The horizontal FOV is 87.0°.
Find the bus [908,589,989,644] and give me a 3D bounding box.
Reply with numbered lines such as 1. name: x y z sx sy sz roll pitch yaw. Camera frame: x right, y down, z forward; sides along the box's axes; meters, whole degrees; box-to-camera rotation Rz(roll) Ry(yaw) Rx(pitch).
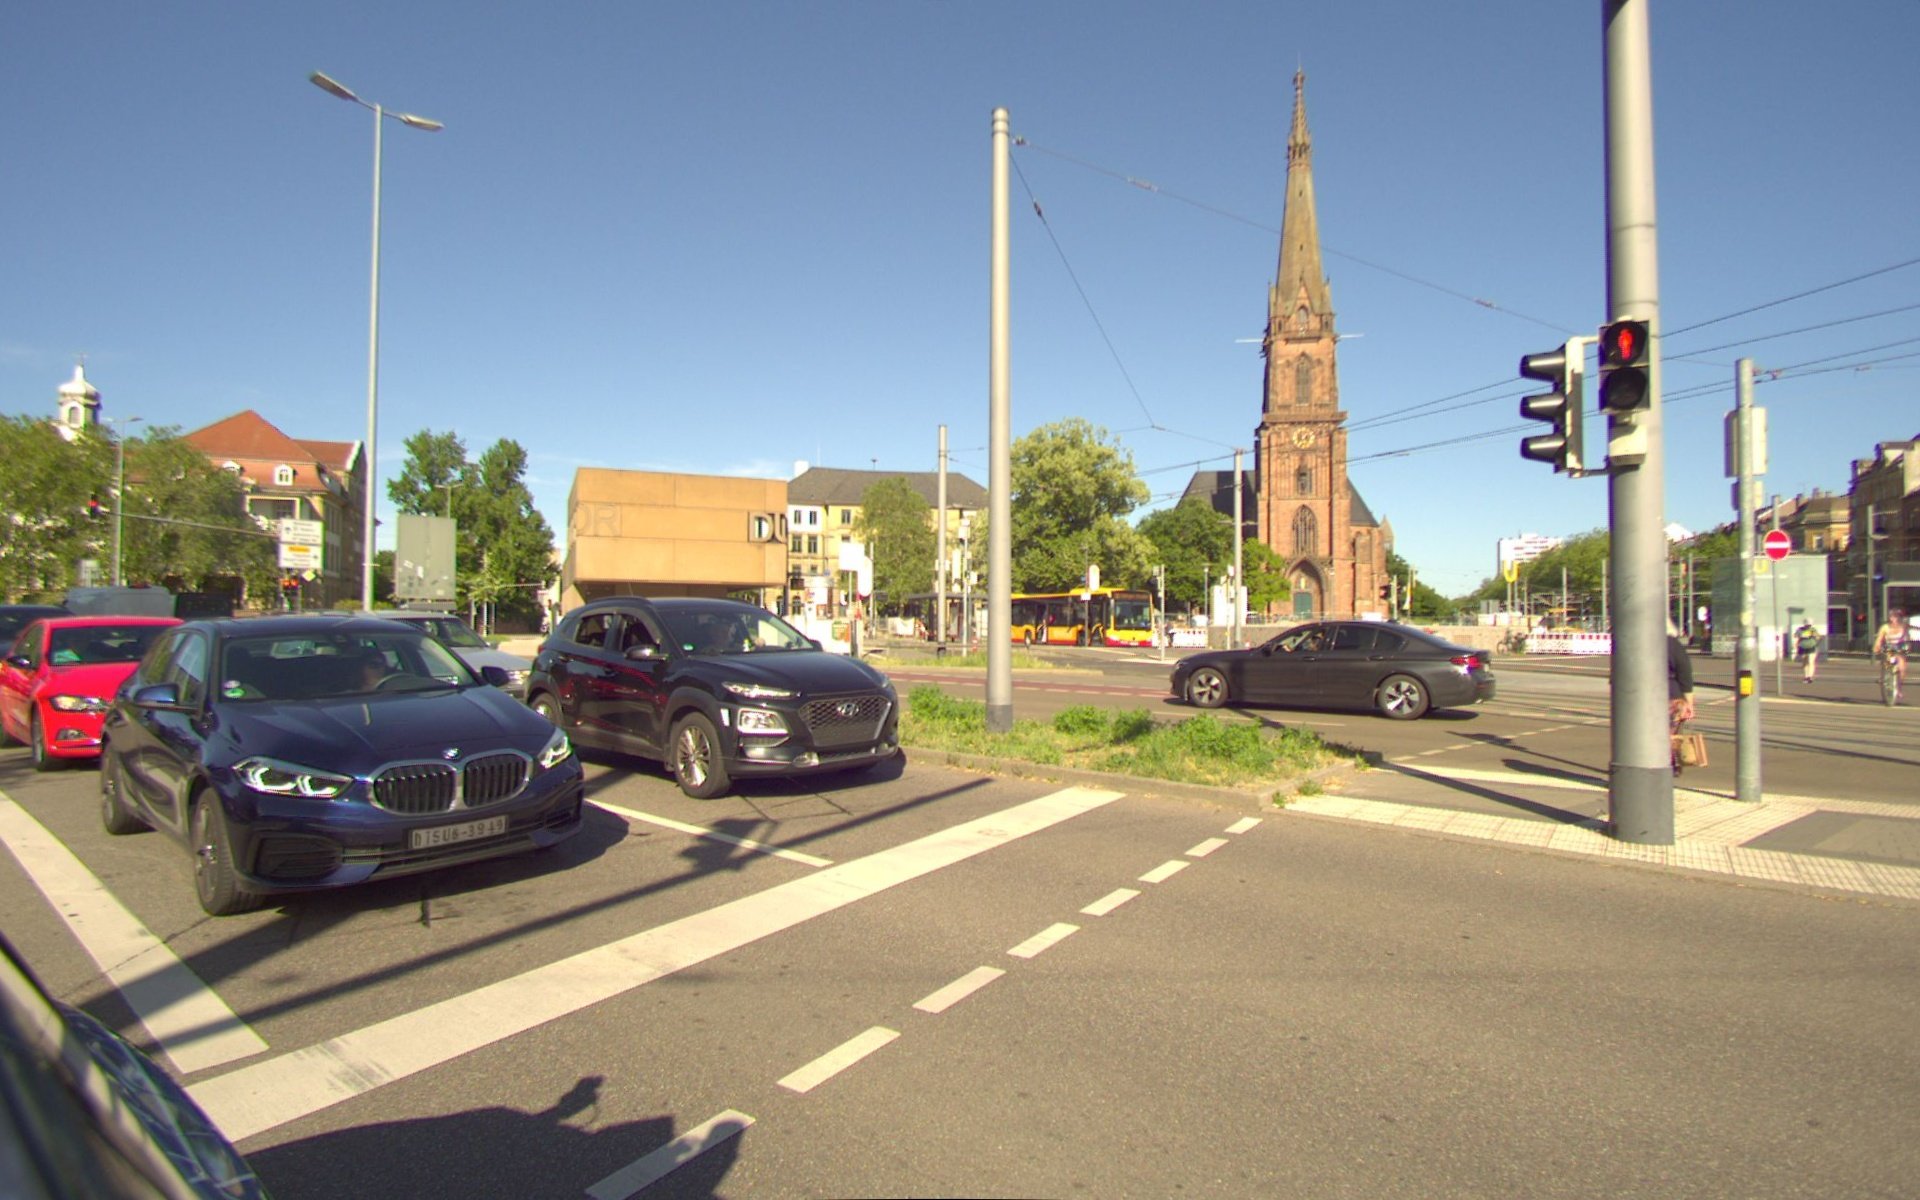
1. bus: -0.840 1.043 61.804 2.104 3.069 8.585 -1 -1 -20

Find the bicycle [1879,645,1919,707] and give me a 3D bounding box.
1. bicycle: 16.664 1.299 17.769 0.615 0.997 2.444 -1 -2 39

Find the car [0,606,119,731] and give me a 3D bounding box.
1. car: -13.487 0.887 14.138 4.114 1.546 1.739 -1 0 36

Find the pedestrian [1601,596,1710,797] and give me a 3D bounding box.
1. pedestrian: 5.687 0.756 8.283 0.367 1.567 0.645 -1 0 -41

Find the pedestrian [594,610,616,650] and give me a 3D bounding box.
1. pedestrian: -15.273 1.281 43.526 0.738 1.725 0.703 -1 0 -8

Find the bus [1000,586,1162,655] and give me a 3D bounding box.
1. bus: 5.927 0.876 52.943 2.801 3.144 11.860 -1 1 -24

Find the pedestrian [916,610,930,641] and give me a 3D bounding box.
1. pedestrian: -2.238 1.542 61.509 0.679 1.875 0.731 -1 0 -19

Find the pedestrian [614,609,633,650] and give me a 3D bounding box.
1. pedestrian: -14.309 1.237 43.094 0.634 1.725 0.703 -1 0 -9

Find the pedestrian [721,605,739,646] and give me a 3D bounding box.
1. pedestrian: -11.854 1.312 52.111 0.844 2.091 0.612 -1 0 -14

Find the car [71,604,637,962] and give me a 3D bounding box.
1. car: -3.912 0.783 6.246 4.011 1.469 1.862 -1 0 41

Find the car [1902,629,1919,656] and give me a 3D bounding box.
1. car: 49.856 2.130 50.992 1.897 1.371 3.978 -1 -2 16

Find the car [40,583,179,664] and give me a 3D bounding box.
1. car: -30.167 0.797 35.863 5.288 2.701 2.220 -1 0 32

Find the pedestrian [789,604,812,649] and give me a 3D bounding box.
1. pedestrian: -6.760 1.104 42.828 0.822 1.843 0.862 -1 0 -19

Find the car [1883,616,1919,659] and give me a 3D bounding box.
1. car: 73.043 2.807 77.273 1.985 3.131 4.889 -1 0 20

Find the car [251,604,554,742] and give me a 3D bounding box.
1. car: -7.325 0.816 13.087 4.655 1.469 1.802 -1 0 39

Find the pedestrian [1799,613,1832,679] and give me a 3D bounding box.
1. pedestrian: 21.425 1.141 25.335 0.608 1.620 0.705 -1 0 41

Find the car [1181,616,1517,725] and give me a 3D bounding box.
1. car: 6.022 0.993 15.922 4.635 1.469 1.865 -1 -1 36

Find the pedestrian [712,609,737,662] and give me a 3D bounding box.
1. pedestrian: -8.463 1.259 36.312 0.844 1.843 0.704 -1 0 -14

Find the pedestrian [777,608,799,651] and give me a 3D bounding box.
1. pedestrian: -7.536 1.276 44.333 0.822 1.843 0.862 -1 0 -19

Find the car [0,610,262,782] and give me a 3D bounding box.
1. car: -9.014 0.859 10.730 4.010 1.469 1.692 -1 0 40

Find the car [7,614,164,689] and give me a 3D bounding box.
1. car: -19.361 1.060 22.331 4.655 1.469 1.802 -1 0 39

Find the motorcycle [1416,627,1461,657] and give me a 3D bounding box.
1. motorcycle: 21.065 1.835 44.583 2.070 1.263 0.536 -1 0 -23

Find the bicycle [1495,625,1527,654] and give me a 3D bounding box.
1. bicycle: 25.336 1.803 46.538 1.476 1.279 0.366 -1 0 -18

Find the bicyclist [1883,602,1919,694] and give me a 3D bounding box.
1. bicyclist: 16.497 0.813 17.591 0.576 1.540 0.944 -1 0 39

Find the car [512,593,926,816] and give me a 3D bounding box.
1. car: -2.278 0.743 8.974 3.914 1.543 1.663 -1 0 42

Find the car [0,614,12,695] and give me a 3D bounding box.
1. car: -19.527 1.021 19.059 4.114 1.466 1.739 -1 0 37
